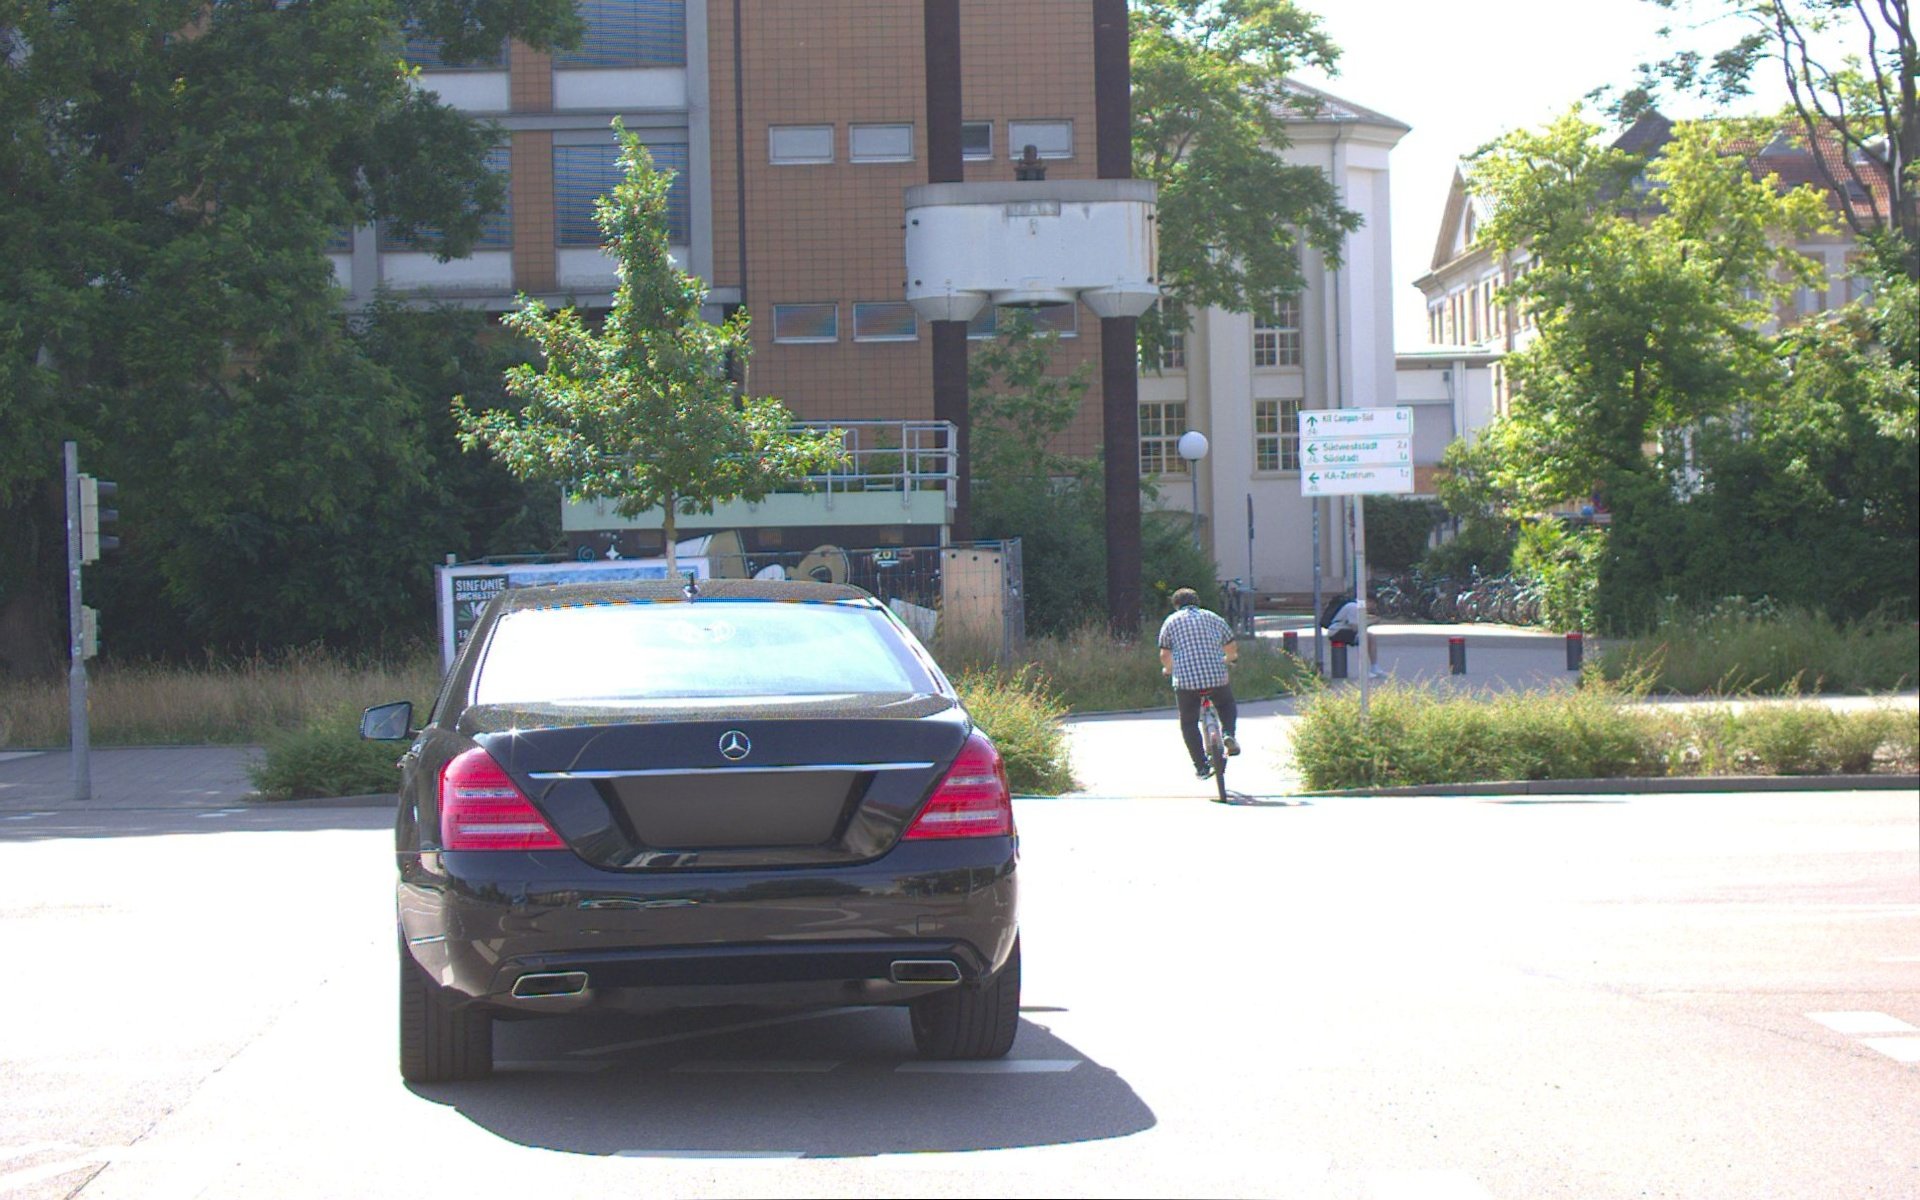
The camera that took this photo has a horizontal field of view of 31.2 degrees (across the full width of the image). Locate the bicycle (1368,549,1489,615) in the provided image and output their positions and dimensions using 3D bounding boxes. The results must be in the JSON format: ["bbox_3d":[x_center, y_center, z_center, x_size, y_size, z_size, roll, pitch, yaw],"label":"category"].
[{"bbox_3d":[11.651,-0.452,85.551,2.823,1.553,0.842,-2,1,-1],"label":"bicycle"}]

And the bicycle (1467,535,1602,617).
[{"bbox_3d":[12.846,-0.541,76.869,2.823,1.738,0.842,-2,1,-1],"label":"bicycle"}]

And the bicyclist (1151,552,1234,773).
[{"bbox_3d":[2.000,0.526,29.621,0.686,1.872,0.859,0,0,3],"label":"bicyclist"}]

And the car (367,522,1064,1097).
[{"bbox_3d":[-0.963,0.645,11.586,1.858,1.525,4.714,1,-2,-8],"label":"car"}]

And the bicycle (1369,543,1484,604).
[{"bbox_3d":[12.060,-0.688,88.960,2.823,1.475,0.842,-2,1,-1],"label":"bicycle"}]

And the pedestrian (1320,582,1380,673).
[{"bbox_3d":[5.324,0.369,46.941,0.793,1.209,0.757,1,0,6],"label":"pedestrian"}]

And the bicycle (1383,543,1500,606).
[{"bbox_3d":[12.264,-0.655,87.630,2.823,1.495,0.842,-2,1,-1],"label":"bicycle"}]

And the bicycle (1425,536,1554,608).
[{"bbox_3d":[12.371,-0.658,80.392,2.823,1.581,0.842,-2,1,-1],"label":"bicycle"}]

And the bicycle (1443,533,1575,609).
[{"bbox_3d":[12.499,-0.667,78.326,2.823,1.643,0.842,-2,1,-1],"label":"bicycle"}]

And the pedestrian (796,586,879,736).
[{"bbox_3d":[-1.314,0.645,36.936,0.811,1.574,0.692,-1,0,1],"label":"pedestrian"}]

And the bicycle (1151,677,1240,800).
[{"bbox_3d":[1.979,1.156,29.098,0.692,0.943,1.958,1,0,2],"label":"bicycle"}]

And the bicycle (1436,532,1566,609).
[{"bbox_3d":[12.472,-0.685,79.325,2.823,1.653,0.842,-2,2,-1],"label":"bicycle"}]

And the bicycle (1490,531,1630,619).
[{"bbox_3d":[13.009,-0.547,74.609,2.823,1.830,0.842,-2,1,-1],"label":"bicycle"}]
